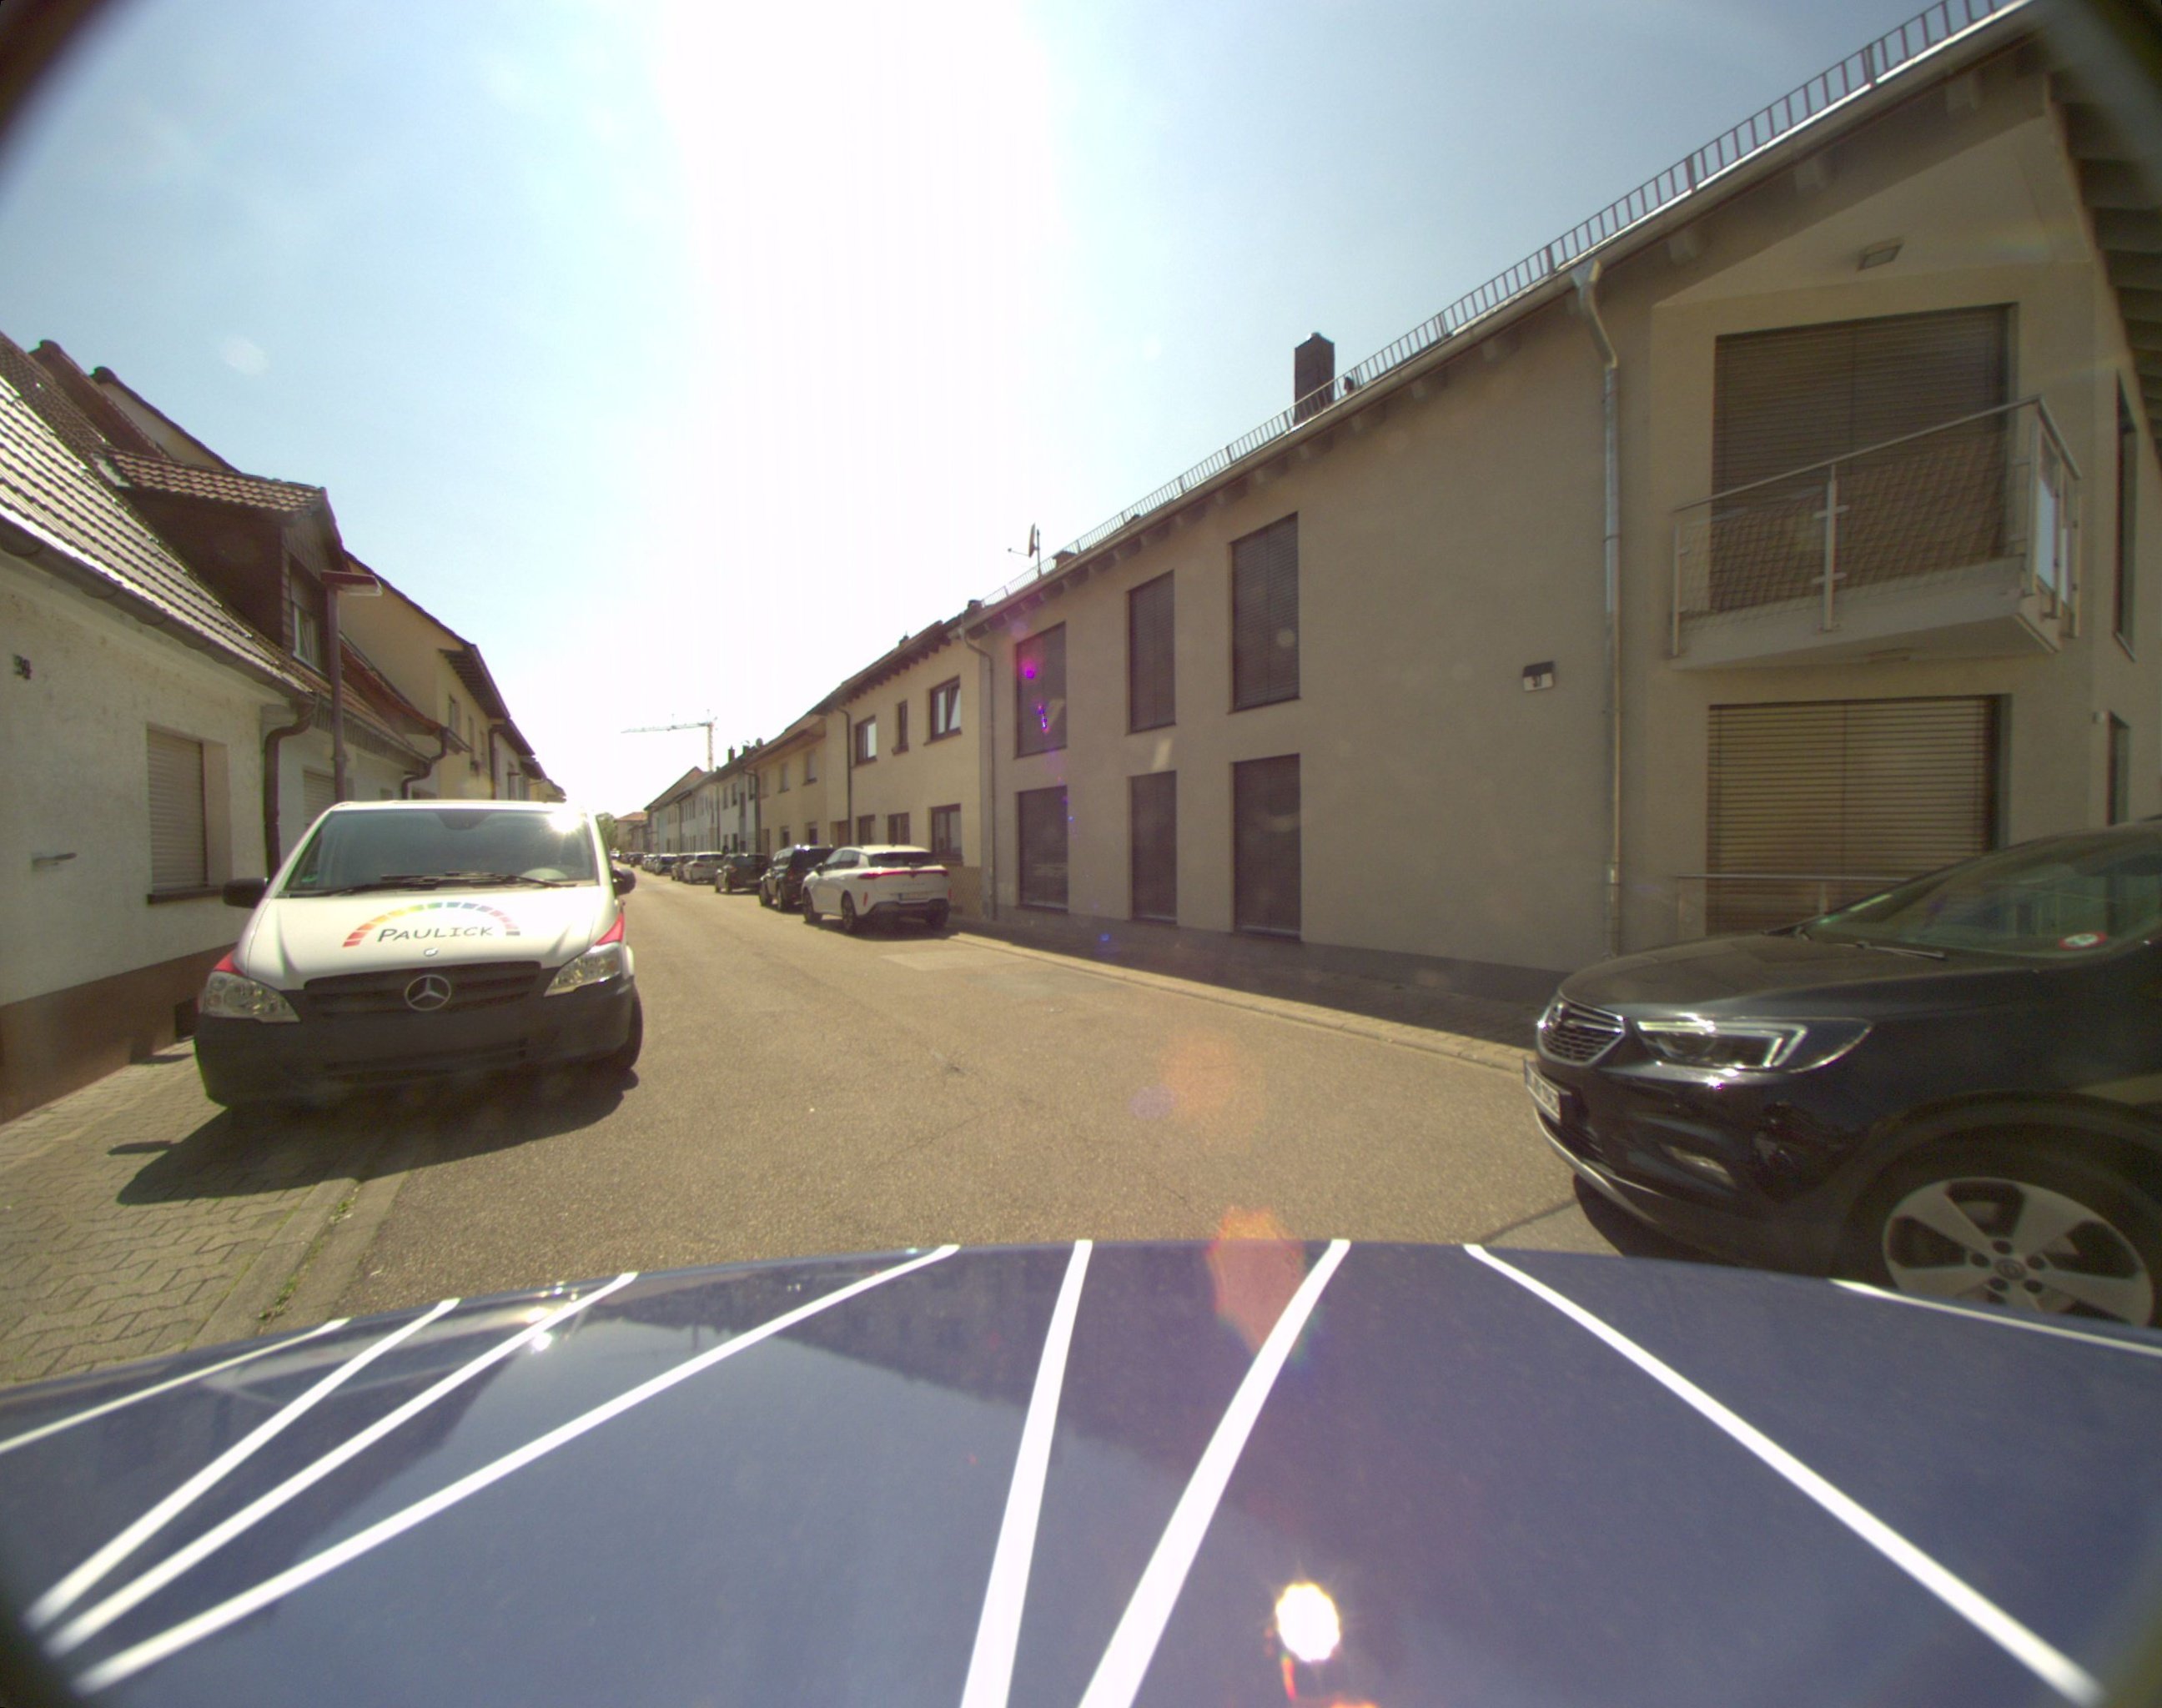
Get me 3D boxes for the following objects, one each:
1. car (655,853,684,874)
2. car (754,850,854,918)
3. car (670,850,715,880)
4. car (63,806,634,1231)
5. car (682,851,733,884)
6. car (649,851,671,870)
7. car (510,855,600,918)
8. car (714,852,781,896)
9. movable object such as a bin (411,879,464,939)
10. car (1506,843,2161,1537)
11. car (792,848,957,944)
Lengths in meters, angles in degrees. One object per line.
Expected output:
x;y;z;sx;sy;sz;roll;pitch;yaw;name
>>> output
-28.783;0.634;53.062;1.610;1.434;3.205;0;0;-32;car
-7.399;0.704;20.062;1.731;1.606;3.979;0;1;-31;car
-21.770;0.583;42.502;1.671;1.533;3.678;-2;2;-36;car
-4.854;0.656;6.003;2.022;1.828;5.251;-2;2;-33;car
-18.702;0.629;37.965;1.671;1.540;3.931;-1;1;-35;car
-34.052;0.523;61.464;1.418;1.446;3.453;0;1;-32;car
-14.713;0.811;21.353;1.847;1.440;4.763;-2;2;-34;car
-12.567;0.691;28.521;1.648;1.528;3.931;0;1;-34;car
-12.193;1.025;14.423;0.662;1.065;0.811;-1;1;-34;movable object such as a bin
3.847;0.778;2.215;4.271;1.573;1.765;0;0;17;car
-4.209;0.692;14.990;1.783;1.606;4.337;0;1;-35;car
